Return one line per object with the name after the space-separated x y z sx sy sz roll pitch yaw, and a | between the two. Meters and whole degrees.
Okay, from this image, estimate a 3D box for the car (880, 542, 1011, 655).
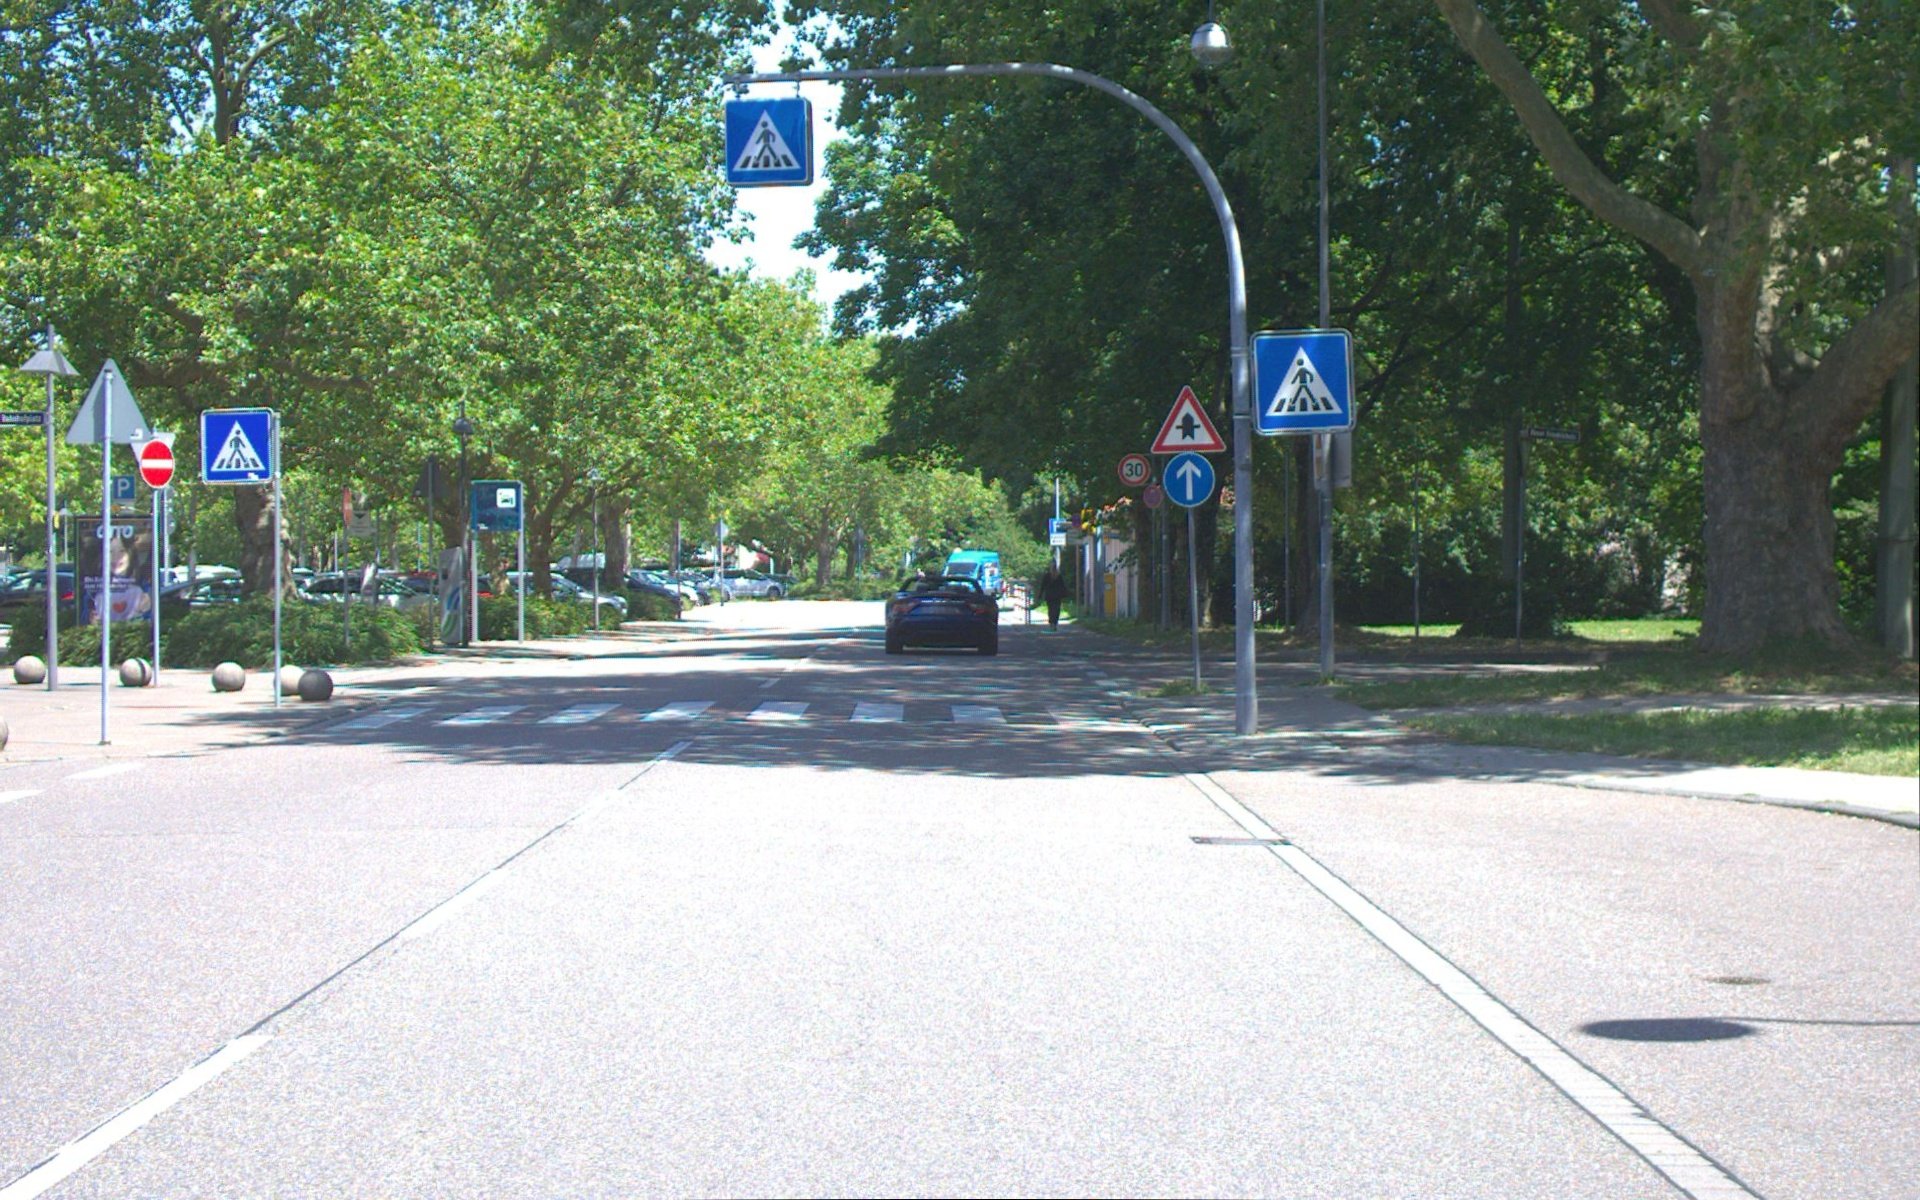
-0.284 -0.042 58.451 2.125 1.842 4.048 0 0 -2 | car

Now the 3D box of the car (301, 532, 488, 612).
-13.044 -0.630 79.264 3.986 1.775 2.000 0 -1 -18 | car
